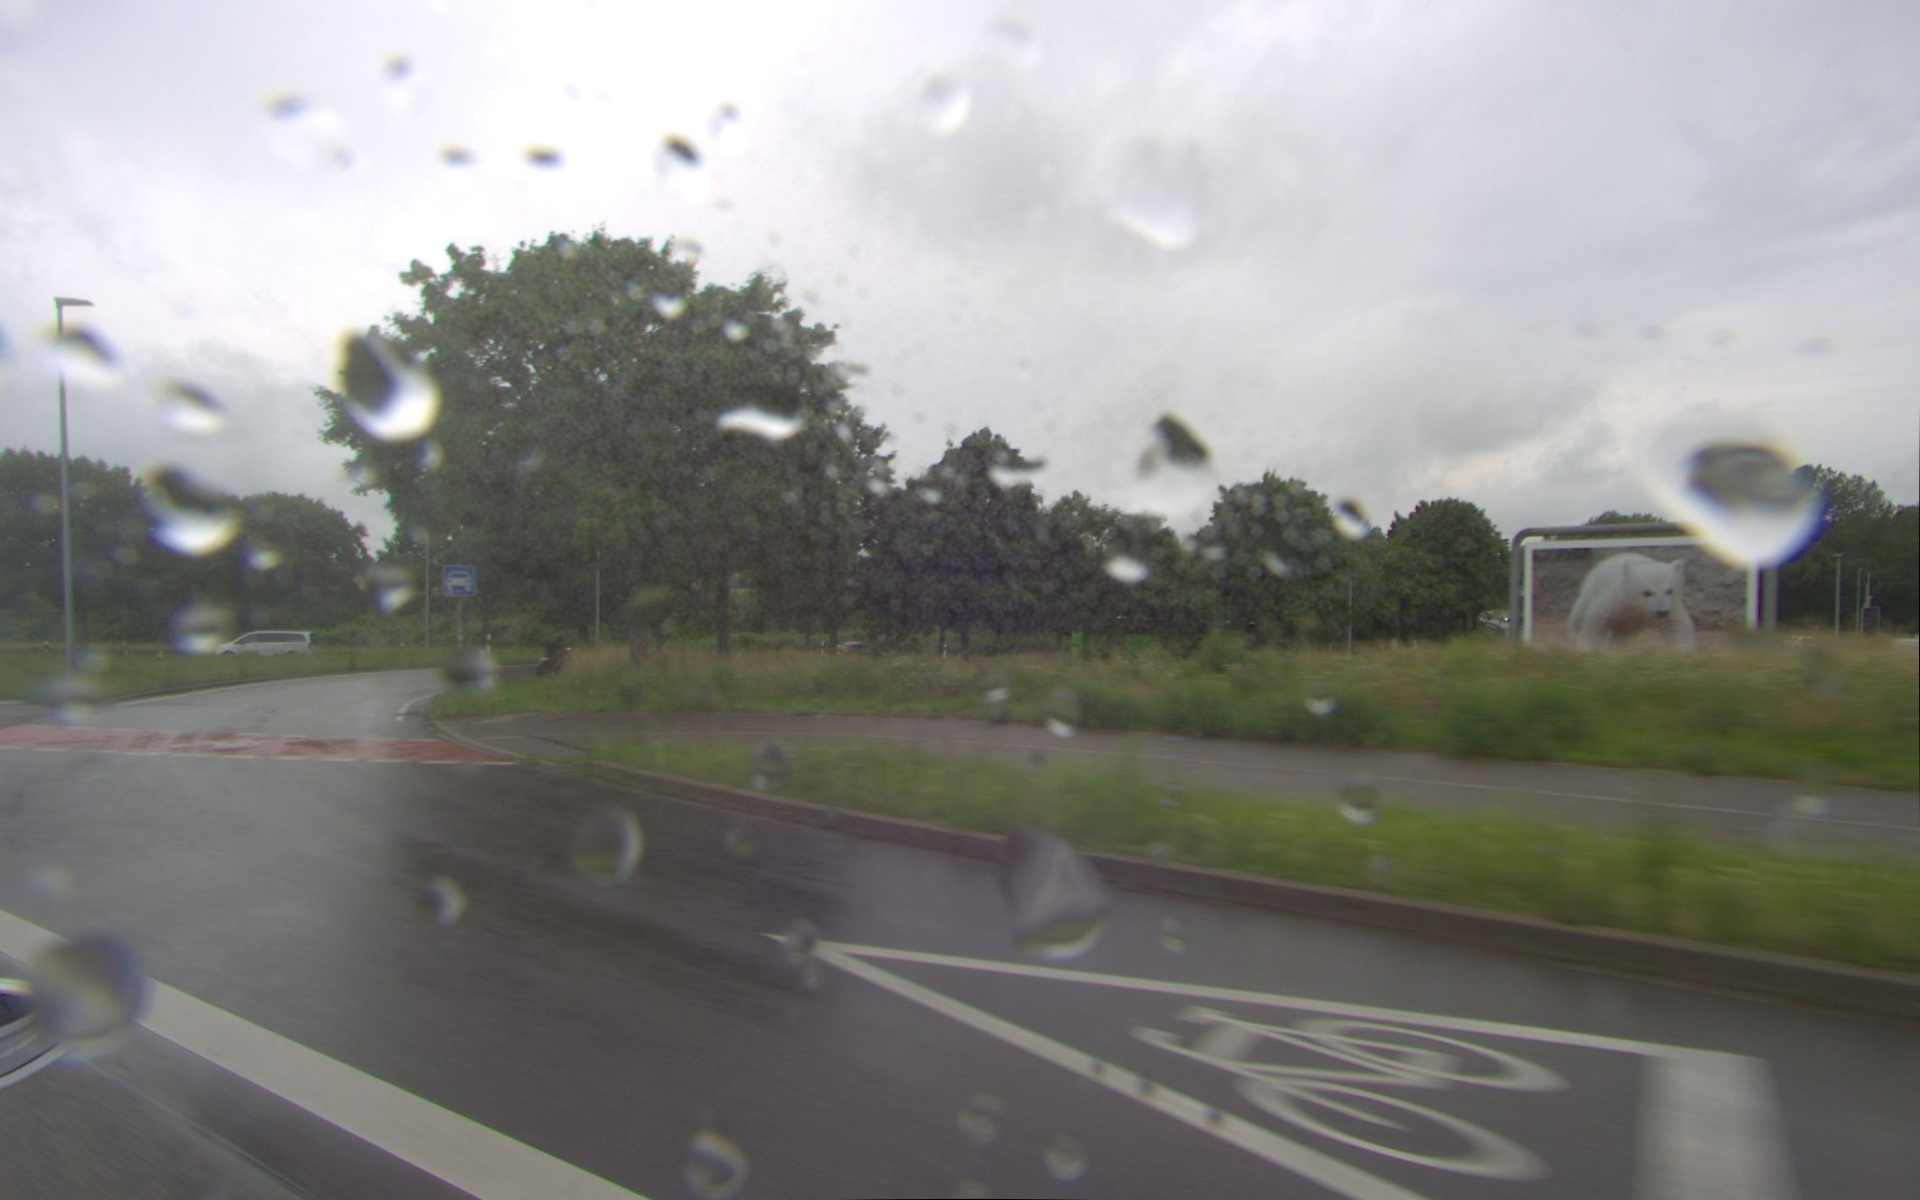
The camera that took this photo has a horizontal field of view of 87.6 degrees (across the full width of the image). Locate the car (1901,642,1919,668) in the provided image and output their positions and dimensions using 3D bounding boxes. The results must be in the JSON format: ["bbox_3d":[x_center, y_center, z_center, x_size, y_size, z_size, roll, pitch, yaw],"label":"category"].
[{"bbox_3d":[67.481,3.845,68.752,1.962,1.720,4.742,-1,0,11],"label":"car"}]

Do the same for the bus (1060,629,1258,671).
[{"bbox_3d":[14.652,3.626,73.575,14.321,2.715,2.760,-1,0,-13],"label":"bus"}]

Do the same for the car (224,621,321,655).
[{"bbox_3d":[-41.337,2.267,60.332,4.538,2.000,2.057,0,-1,-27],"label":"car"}]

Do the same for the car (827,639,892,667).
[{"bbox_3d":[-6.347,3.351,63.691,1.839,1.639,3.969,-1,-2,41],"label":"car"}]

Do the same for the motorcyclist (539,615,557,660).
[{"bbox_3d":[-16.070,1.441,39.053,0.593,1.712,0.858,-1,0,-20],"label":"motorcyclist"}]

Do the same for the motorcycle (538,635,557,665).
[{"bbox_3d":[-16.073,1.942,39.078,0.593,1.108,1.727,-1,0,-20],"label":"motorcycle"}]
